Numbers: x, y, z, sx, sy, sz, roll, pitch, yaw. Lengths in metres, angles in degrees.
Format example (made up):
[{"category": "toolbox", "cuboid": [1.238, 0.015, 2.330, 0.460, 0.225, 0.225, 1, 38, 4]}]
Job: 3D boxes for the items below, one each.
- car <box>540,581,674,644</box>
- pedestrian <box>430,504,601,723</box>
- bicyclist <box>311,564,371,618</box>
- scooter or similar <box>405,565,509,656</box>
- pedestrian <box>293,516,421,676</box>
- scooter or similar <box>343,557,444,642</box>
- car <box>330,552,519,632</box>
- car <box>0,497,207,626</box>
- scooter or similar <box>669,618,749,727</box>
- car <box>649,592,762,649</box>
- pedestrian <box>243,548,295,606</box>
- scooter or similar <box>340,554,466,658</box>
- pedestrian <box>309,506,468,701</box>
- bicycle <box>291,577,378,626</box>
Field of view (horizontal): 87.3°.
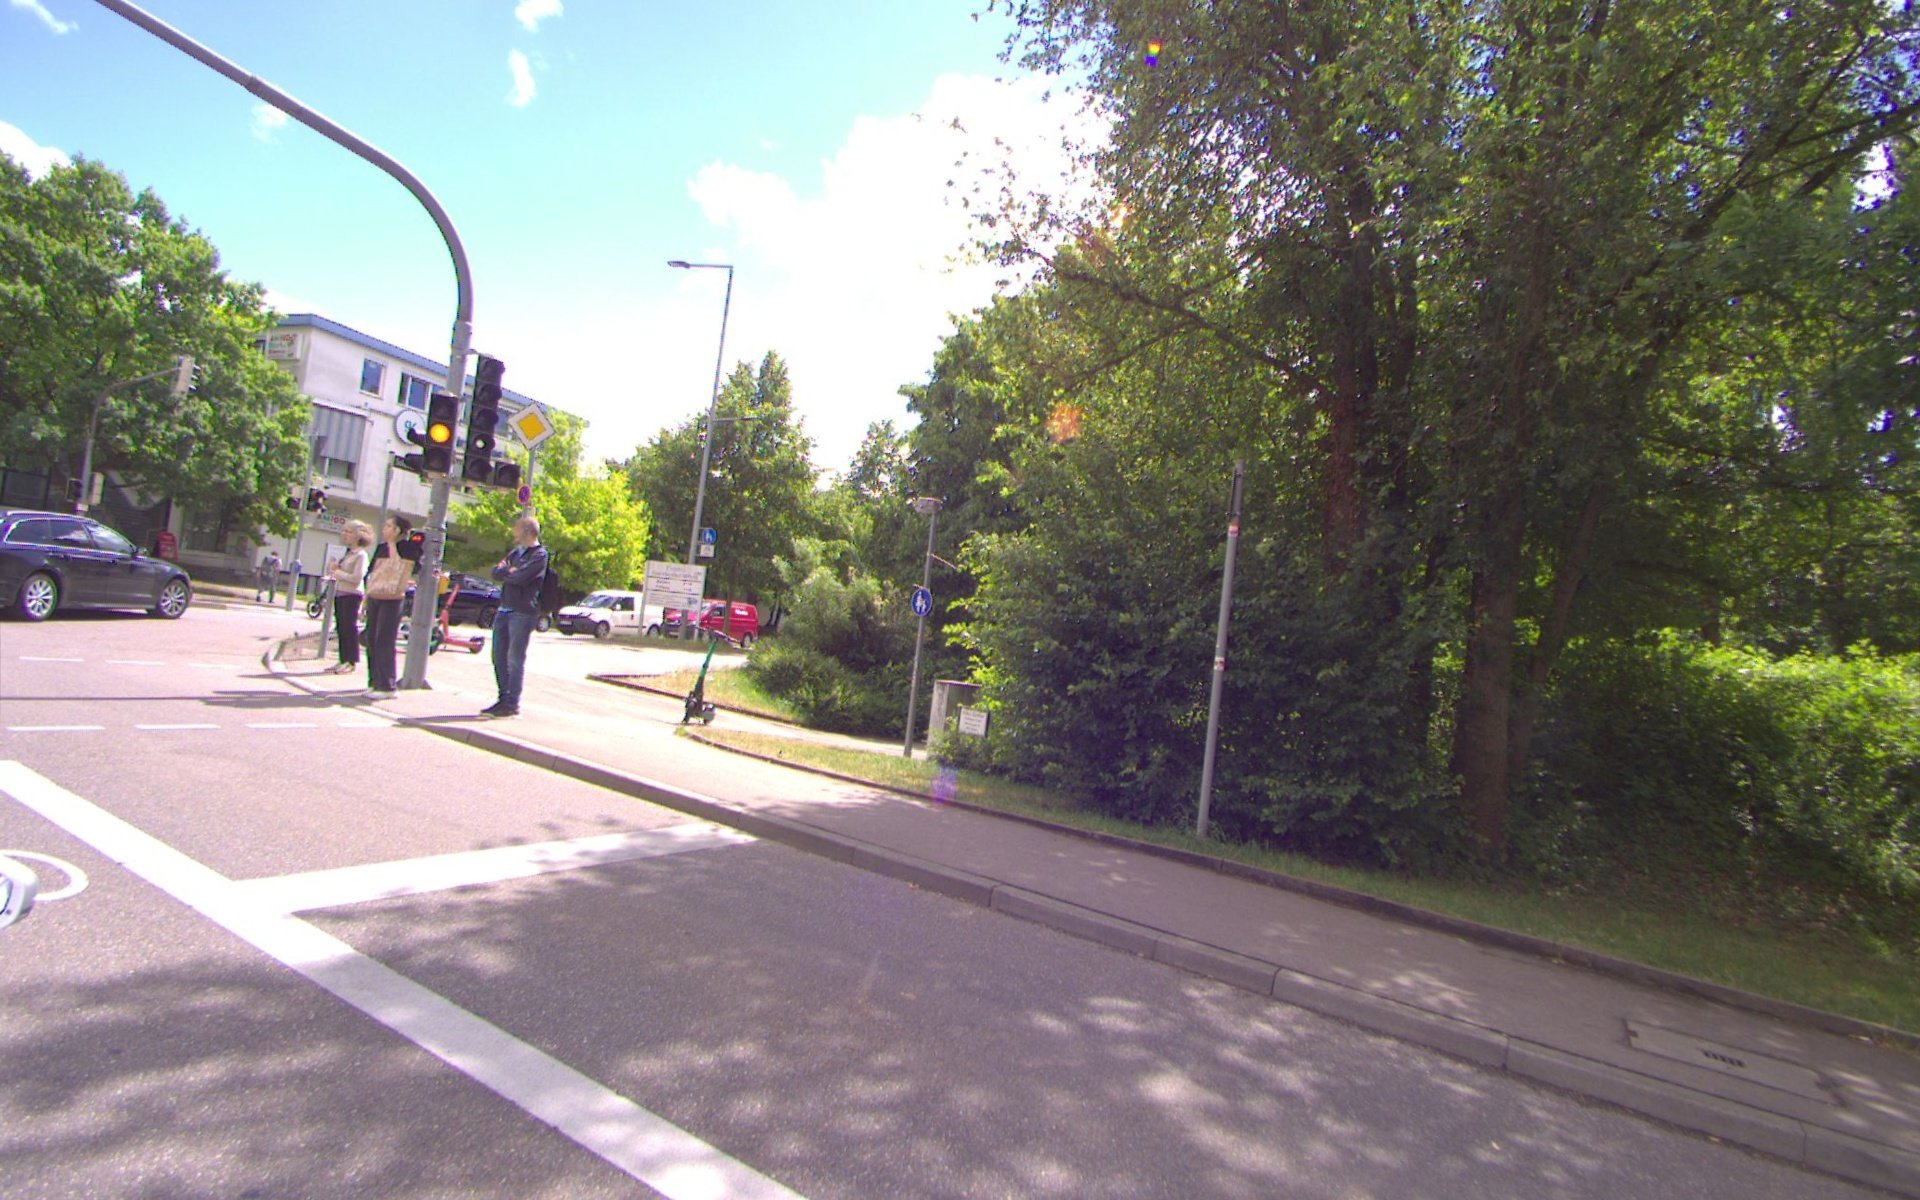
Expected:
[{"category": "car", "cuboid": [-12.945, 0.510, 37.223, 1.963, 1.737, 4.576, 7, -2, 23]}, {"category": "pedestrian", "cuboid": [-4.322, 0.149, 9.831, 0.881, 1.964, 0.968, 7, -1, 28]}, {"category": "bicyclist", "cuboid": [-13.372, -0.191, 21.751, 0.625, 1.034, 0.793, 7, -2, 30]}, {"category": "scooter or similar", "cuboid": [-7.932, 0.187, 15.911, 0.547, 1.254, 1.231, 8, -3, 23]}, {"category": "pedestrian", "cuboid": [-6.931, -0.048, 11.559, 0.950, 1.694, 0.860, 7, -1, -43]}, {"category": "scooter or similar", "cuboid": [-8.942, 0.023, 15.943, 0.533, 1.168, 1.362, 9, -3, 7]}, {"category": "car", "cuboid": [-15.854, -0.178, 30.055, 1.964, 1.737, 4.574, 7, -2, 25]}, {"category": "car", "cuboid": [-13.070, -0.562, 14.168, 1.967, 1.571, 4.516, 7, -2, -10]}, {"category": "scooter or similar", "cuboid": [-3.345, 1.000, 13.525, 0.706, 1.287, 1.243, 10, -7, -7]}, {"category": "car", "cuboid": [-10.612, 0.898, 42.357, 1.964, 1.885, 4.822, 5, -3, 23]}, {"category": "pedestrian", "cuboid": [-21.744, -0.723, 31.675, 0.756, 1.662, 0.908, 7, -1, 10]}, {"category": "scooter or similar", "cuboid": [-7.883, 0.103, 14.279, 0.455, 1.292, 1.344, 8, -1, 38]}, {"category": "pedestrian", "cuboid": [-5.686, 0.050, 10.051, 0.758, 1.787, 0.936, 7, 0, 20]}, {"category": "bicycle", "cuboid": [-13.597, 0.031, 21.863, 1.777, 0.828, 0.793, 7, -2, 30]}]
